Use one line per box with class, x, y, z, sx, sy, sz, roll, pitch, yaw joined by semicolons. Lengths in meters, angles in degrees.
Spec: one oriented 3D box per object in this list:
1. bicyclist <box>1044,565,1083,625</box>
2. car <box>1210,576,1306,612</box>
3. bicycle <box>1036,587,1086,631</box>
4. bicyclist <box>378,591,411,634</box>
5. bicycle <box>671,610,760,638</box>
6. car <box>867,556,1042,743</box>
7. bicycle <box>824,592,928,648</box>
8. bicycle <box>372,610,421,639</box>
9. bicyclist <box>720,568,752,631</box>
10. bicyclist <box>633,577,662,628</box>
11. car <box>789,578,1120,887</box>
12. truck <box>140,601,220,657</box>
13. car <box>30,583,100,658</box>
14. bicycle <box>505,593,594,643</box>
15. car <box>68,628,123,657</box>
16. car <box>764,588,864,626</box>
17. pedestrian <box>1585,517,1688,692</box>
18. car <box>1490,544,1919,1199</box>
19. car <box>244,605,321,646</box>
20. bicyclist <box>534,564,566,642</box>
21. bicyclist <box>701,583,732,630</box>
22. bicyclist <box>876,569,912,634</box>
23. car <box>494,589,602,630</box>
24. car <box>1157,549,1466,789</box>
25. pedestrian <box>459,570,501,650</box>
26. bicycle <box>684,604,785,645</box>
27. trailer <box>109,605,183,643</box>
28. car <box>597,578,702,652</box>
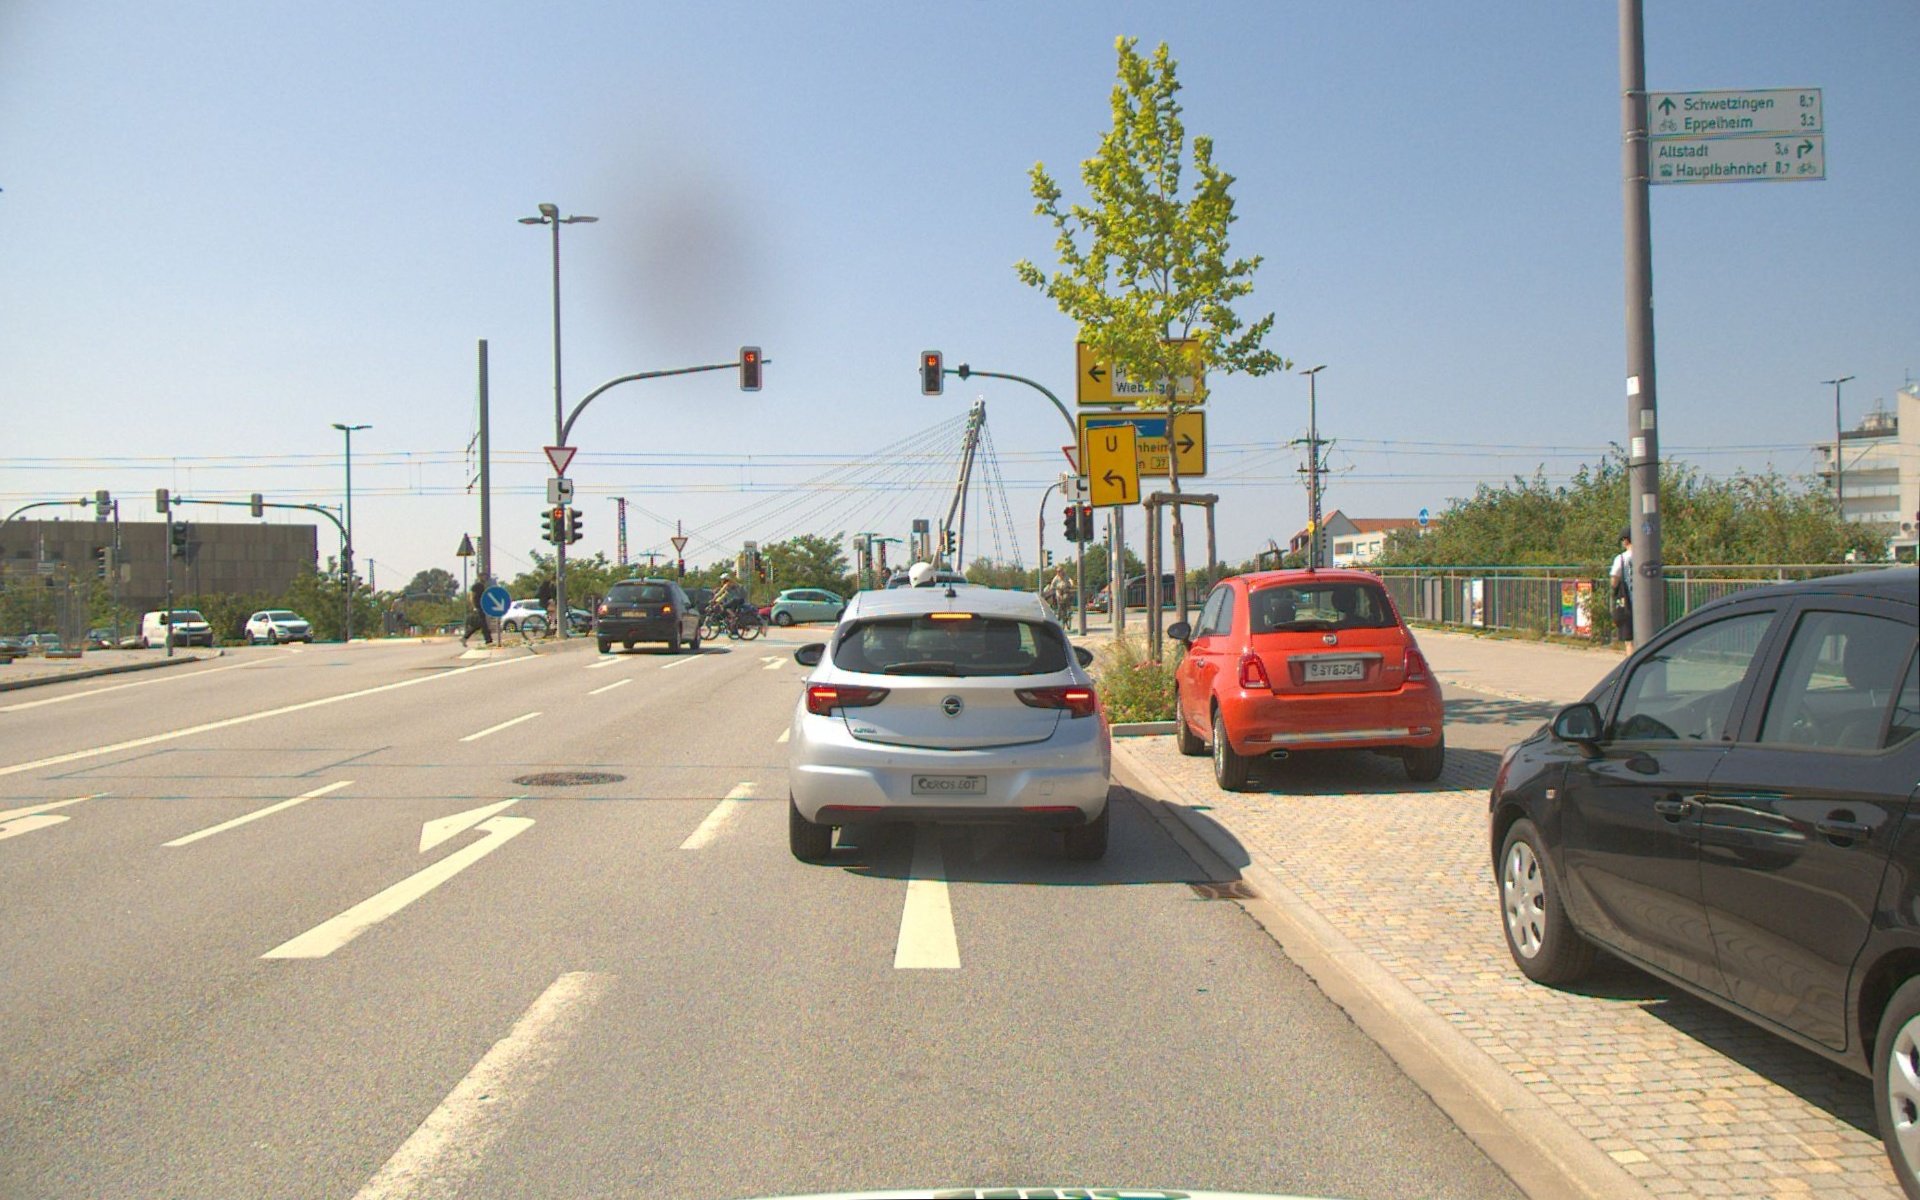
bicyclist;2.770;-0.127;44.265;0.803;1.596;0.948;1;-1;20
car;14.464;-0.277;80.443;4.180;1.703;1.990;0;0;-18
bicycle;2.708;0.239;44.124;0.661;1.147;2.365;1;0;20
bicyclist;-21.741;0.472;63.591;0.756;1.638;0.949;1;-1;23
bicycle;-6.259;0.613;42.317;2.200;0.704;0.516;0;0;0
car;-0.088;0.469;17.282;1.601;1.703;3.744;1;0;-1
bicycle;-2.090;0.493;41.391;2.472;1.153;0.729;-5;2;2
bicycle;-21.673;0.937;63.578;1.828;1.087;0.578;1;-1;22
bicyclist;-5.598;-0.009;41.361;0.643;1.528;0.844;1;-1;0
bicyclist;-9.483;0.086;50.198;0.704;1.530;0.824;0;-1;0
car;-0.065;0.652;10.427;1.656;1.546;4.270;0;0;-1
truck;-37.535;1.343;79.544;4.628;2.585;1.987;0;0;44
car;-25.422;0.564;47.066;1.651;2.049;3.964;1;0;-28
bicycle;-10.187;0.444;41.071;2.037;1.198;0.556;1;-1;3
car;-45.484;2.223;86.992;1.652;1.414;3.728;1;0;-43
car;-5.805;0.278;65.968;3.710;1.386;1.533;-1;1;5
pedestrian;7.443;0.051;18.226;0.743;1.862;0.885;1;-1;-1
car;2.914;0.645;4.711;1.549;1.582;3.546;-3;1;-1
car;-32.410;1.190;79.055;3.974;1.846;1.920;0;0;42
bicyclist;-10.175;0.079;41.068;0.581;1.920;0.637;1;-1;3
bicyclist;-6.227;0.162;42.320;0.643;1.196;0.731;1;0;0
bicyclist;-1.634;0.040;41.376;0.805;1.587;0.863;1;-1;2
car;-16.840;0.401;67.692;3.890;1.578;1.677;-1;-1;7
car;2.619;0.432;13.178;1.635;1.566;3.917;-2;1;1
pedestrian;-11.571;0.251;39.858;0.724;1.896;0.754;1;-1;4
bicycle;-5.630;0.604;41.346;2.453;1.025;0.605;0;0;0
trailer;-40.662;1.201;82.601;4.212;1.807;1.987;1;0;43
car;-6.249;0.305;33.594;1.555;1.419;3.339;0;0;-1
